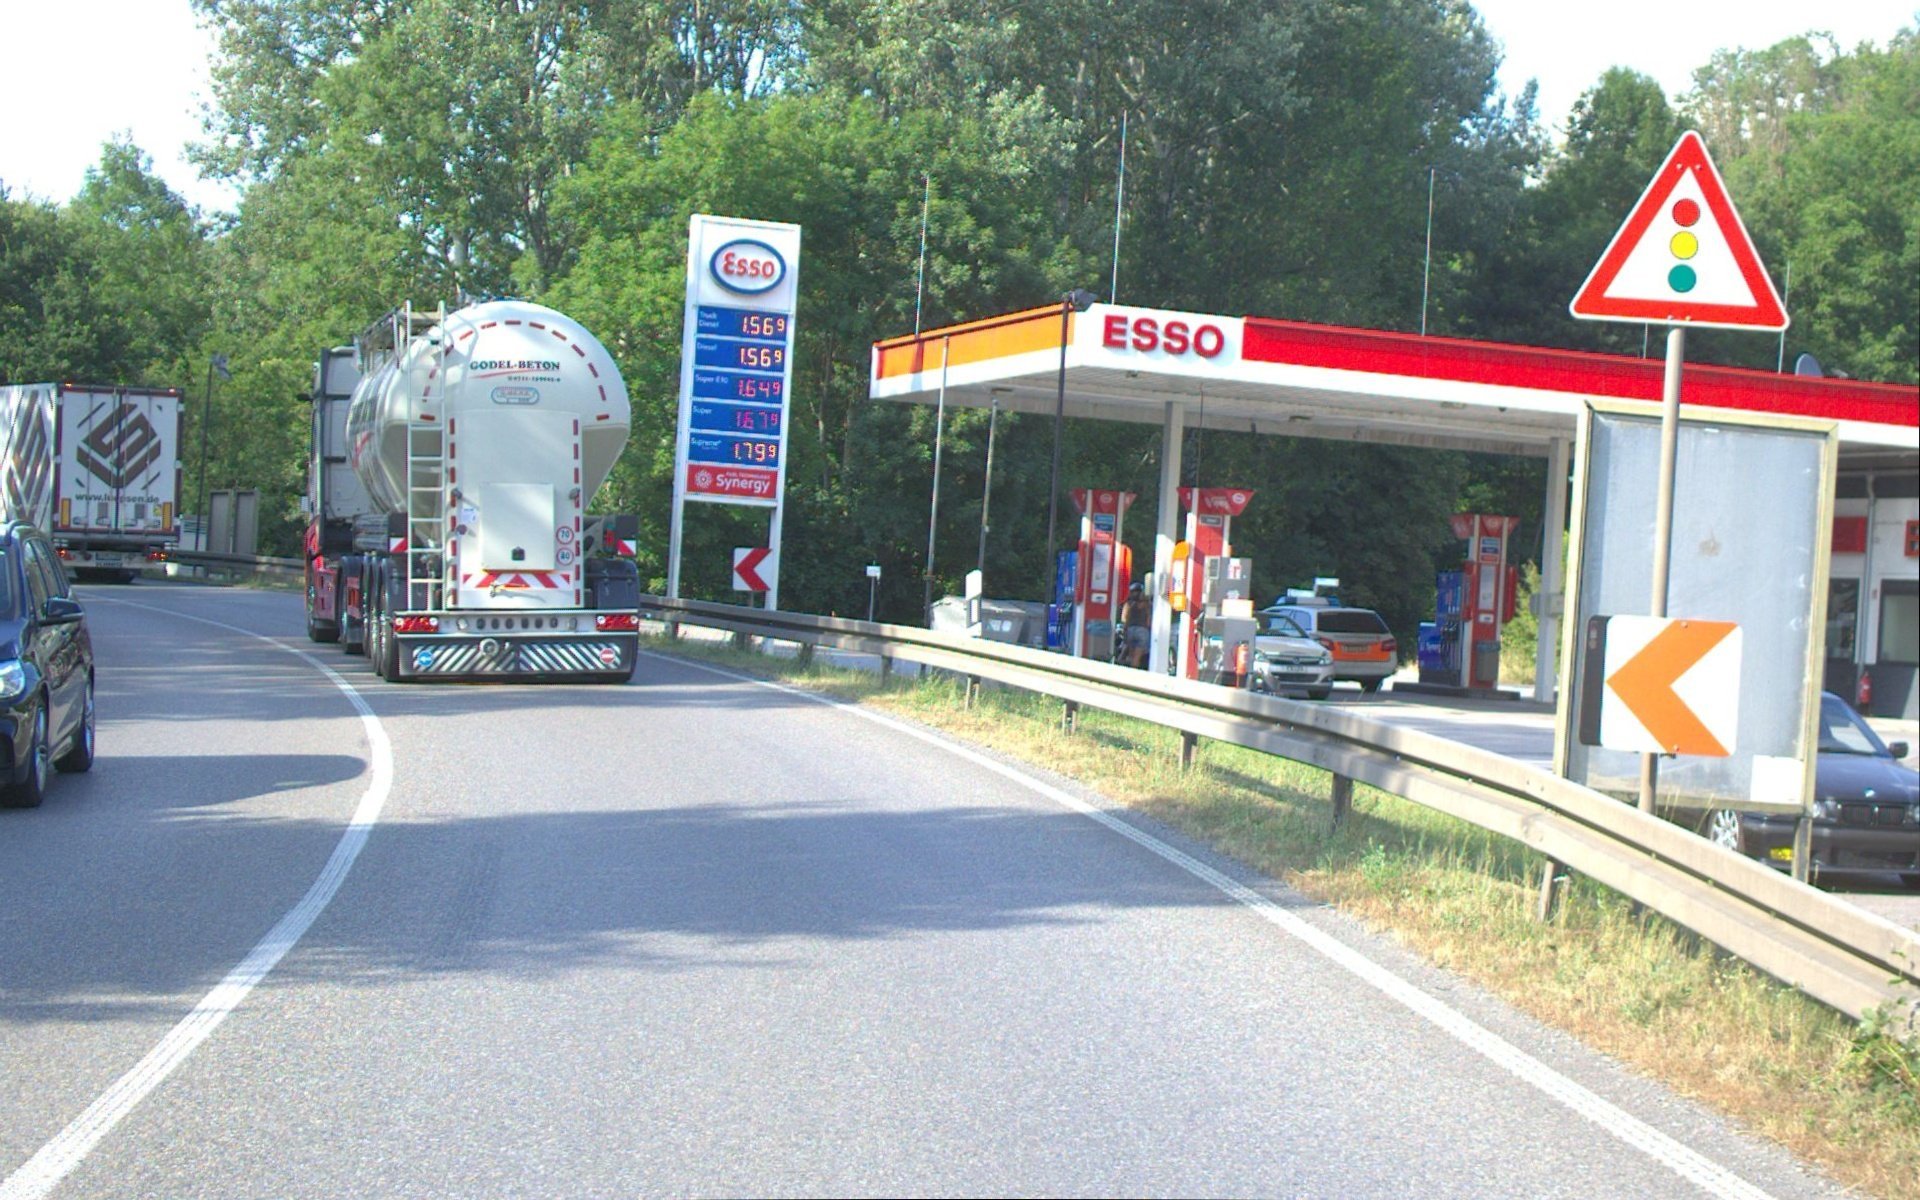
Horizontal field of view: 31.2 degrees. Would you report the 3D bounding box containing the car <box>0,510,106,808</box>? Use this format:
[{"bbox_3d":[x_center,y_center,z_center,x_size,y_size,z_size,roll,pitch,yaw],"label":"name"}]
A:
[{"bbox_3d":[-6.156,0.271,20.210,1.867,1.584,4.249,0,1,-9],"label":"car"}]

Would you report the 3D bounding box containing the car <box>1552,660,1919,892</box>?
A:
[{"bbox_3d":[5.975,1.248,25.489,1.823,1.348,4.273,2,1,-8],"label":"car"}]

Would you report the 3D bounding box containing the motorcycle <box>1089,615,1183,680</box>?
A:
[{"bbox_3d":[3.028,0.814,59.476,0.761,1.008,2.342,3,1,-19],"label":"motorcycle"}]

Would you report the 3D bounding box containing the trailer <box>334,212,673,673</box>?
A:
[{"bbox_3d":[-5.285,-1.602,38.174,2.886,4.439,9.609,0,1,-12],"label":"trailer"}]

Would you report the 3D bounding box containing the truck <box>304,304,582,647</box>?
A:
[{"bbox_3d":[-6.671,-1.517,43.673,2.823,4.021,5.896,1,1,-15],"label":"truck"}]

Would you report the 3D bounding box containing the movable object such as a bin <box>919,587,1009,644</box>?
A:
[{"bbox_3d":[0.102,0.435,98.606,1.266,1.415,2.557,6,-1,-33],"label":"movable object such as a bin"}]

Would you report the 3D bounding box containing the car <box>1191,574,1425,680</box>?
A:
[{"bbox_3d":[6.169,0.445,61.631,2.091,1.622,5.182,3,1,-19],"label":"car"}]

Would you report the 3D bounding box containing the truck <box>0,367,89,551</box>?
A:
[{"bbox_3d":[-22.825,-3.233,79.916,3.450,4.072,6.491,1,0,-28],"label":"truck"}]

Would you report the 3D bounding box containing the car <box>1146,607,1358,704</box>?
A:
[{"bbox_3d":[4.727,0.885,56.353,1.842,1.315,4.391,3,1,-18],"label":"car"}]

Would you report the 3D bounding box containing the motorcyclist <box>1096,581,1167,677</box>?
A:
[{"bbox_3d":[2.975,0.502,59.704,0.858,1.599,0.928,3,0,-19],"label":"motorcyclist"}]

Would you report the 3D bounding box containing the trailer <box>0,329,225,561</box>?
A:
[{"bbox_3d":[-19.638,-3.168,74.360,3.545,4.497,12.985,1,0,-29],"label":"trailer"}]
